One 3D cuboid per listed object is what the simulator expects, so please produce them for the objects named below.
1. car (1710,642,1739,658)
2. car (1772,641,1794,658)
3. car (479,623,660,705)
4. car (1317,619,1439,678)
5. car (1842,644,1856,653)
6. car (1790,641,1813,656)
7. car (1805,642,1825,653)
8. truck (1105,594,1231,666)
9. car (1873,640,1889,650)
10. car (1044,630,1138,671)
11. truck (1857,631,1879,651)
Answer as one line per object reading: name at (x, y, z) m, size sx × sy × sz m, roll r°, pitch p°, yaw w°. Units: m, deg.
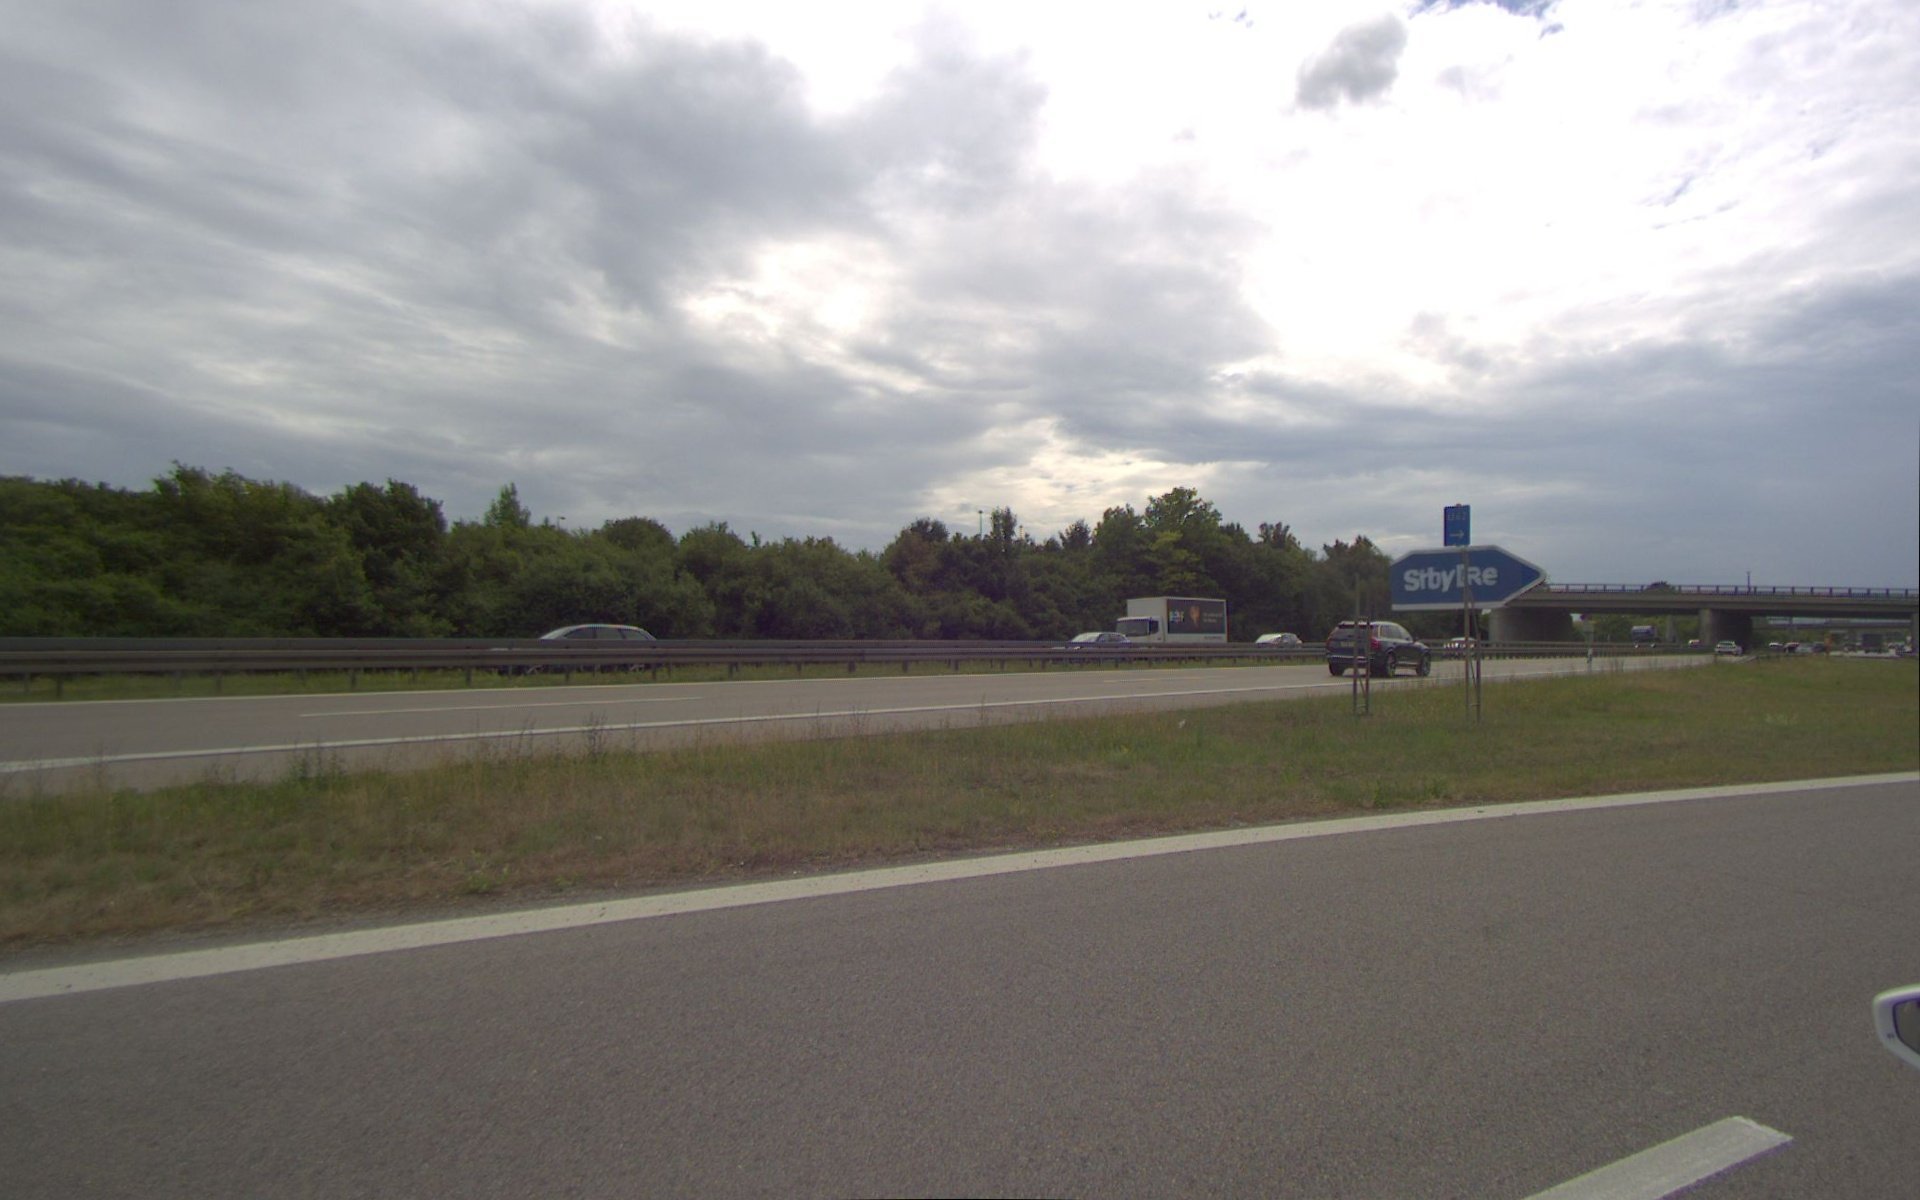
car at (76.006, 4.969, 99.865) m, size 1.817 × 1.472 × 4.353 m, roll 0°, pitch -2°, yaw 44°
car at (108.190, 6.540, 132.057) m, size 1.971 × 2.040 × 3.979 m, roll 2°, pitch -1°, yaw 42°
car at (-10.582, 1.691, 27.423) m, size 4.190 × 2.040 × 1.906 m, roll 3°, pitch -2°, yaw -44°
car at (13.943, 1.588, 33.363) m, size 4.891 × 1.785 × 1.974 m, roll 2°, pitch -2°, yaw -44°
car at (167.599, 9.122, 189.363) m, size 1.826 × 1.782 × 4.309 m, roll 0°, pitch -2°, yaw 45°
car at (92.565, 5.296, 110.446) m, size 1.699 × 1.539 × 3.976 m, roll -1°, pitch -2°, yaw 44°
car at (131.364, 7.281, 154.245) m, size 4.798 × 1.766 × 1.974 m, roll 3°, pitch -3°, yaw -45°
truck at (11.521, 1.655, 55.061) m, size 8.144 × 3.694 × 2.731 m, roll 3°, pitch -2°, yaw -45°
car at (177.190, 8.702, 193.247) m, size 3.974 × 1.834 × 1.974 m, roll 2°, pitch -2°, yaw -44°
car at (5.600, 2.133, 42.731) m, size 3.974 × 1.650 × 1.974 m, roll 3°, pitch -2°, yaw -45°
truck at (157.969, 7.118, 174.754) m, size 2.442 × 3.415 × 7.874 m, roll -1°, pitch -3°, yaw 45°
